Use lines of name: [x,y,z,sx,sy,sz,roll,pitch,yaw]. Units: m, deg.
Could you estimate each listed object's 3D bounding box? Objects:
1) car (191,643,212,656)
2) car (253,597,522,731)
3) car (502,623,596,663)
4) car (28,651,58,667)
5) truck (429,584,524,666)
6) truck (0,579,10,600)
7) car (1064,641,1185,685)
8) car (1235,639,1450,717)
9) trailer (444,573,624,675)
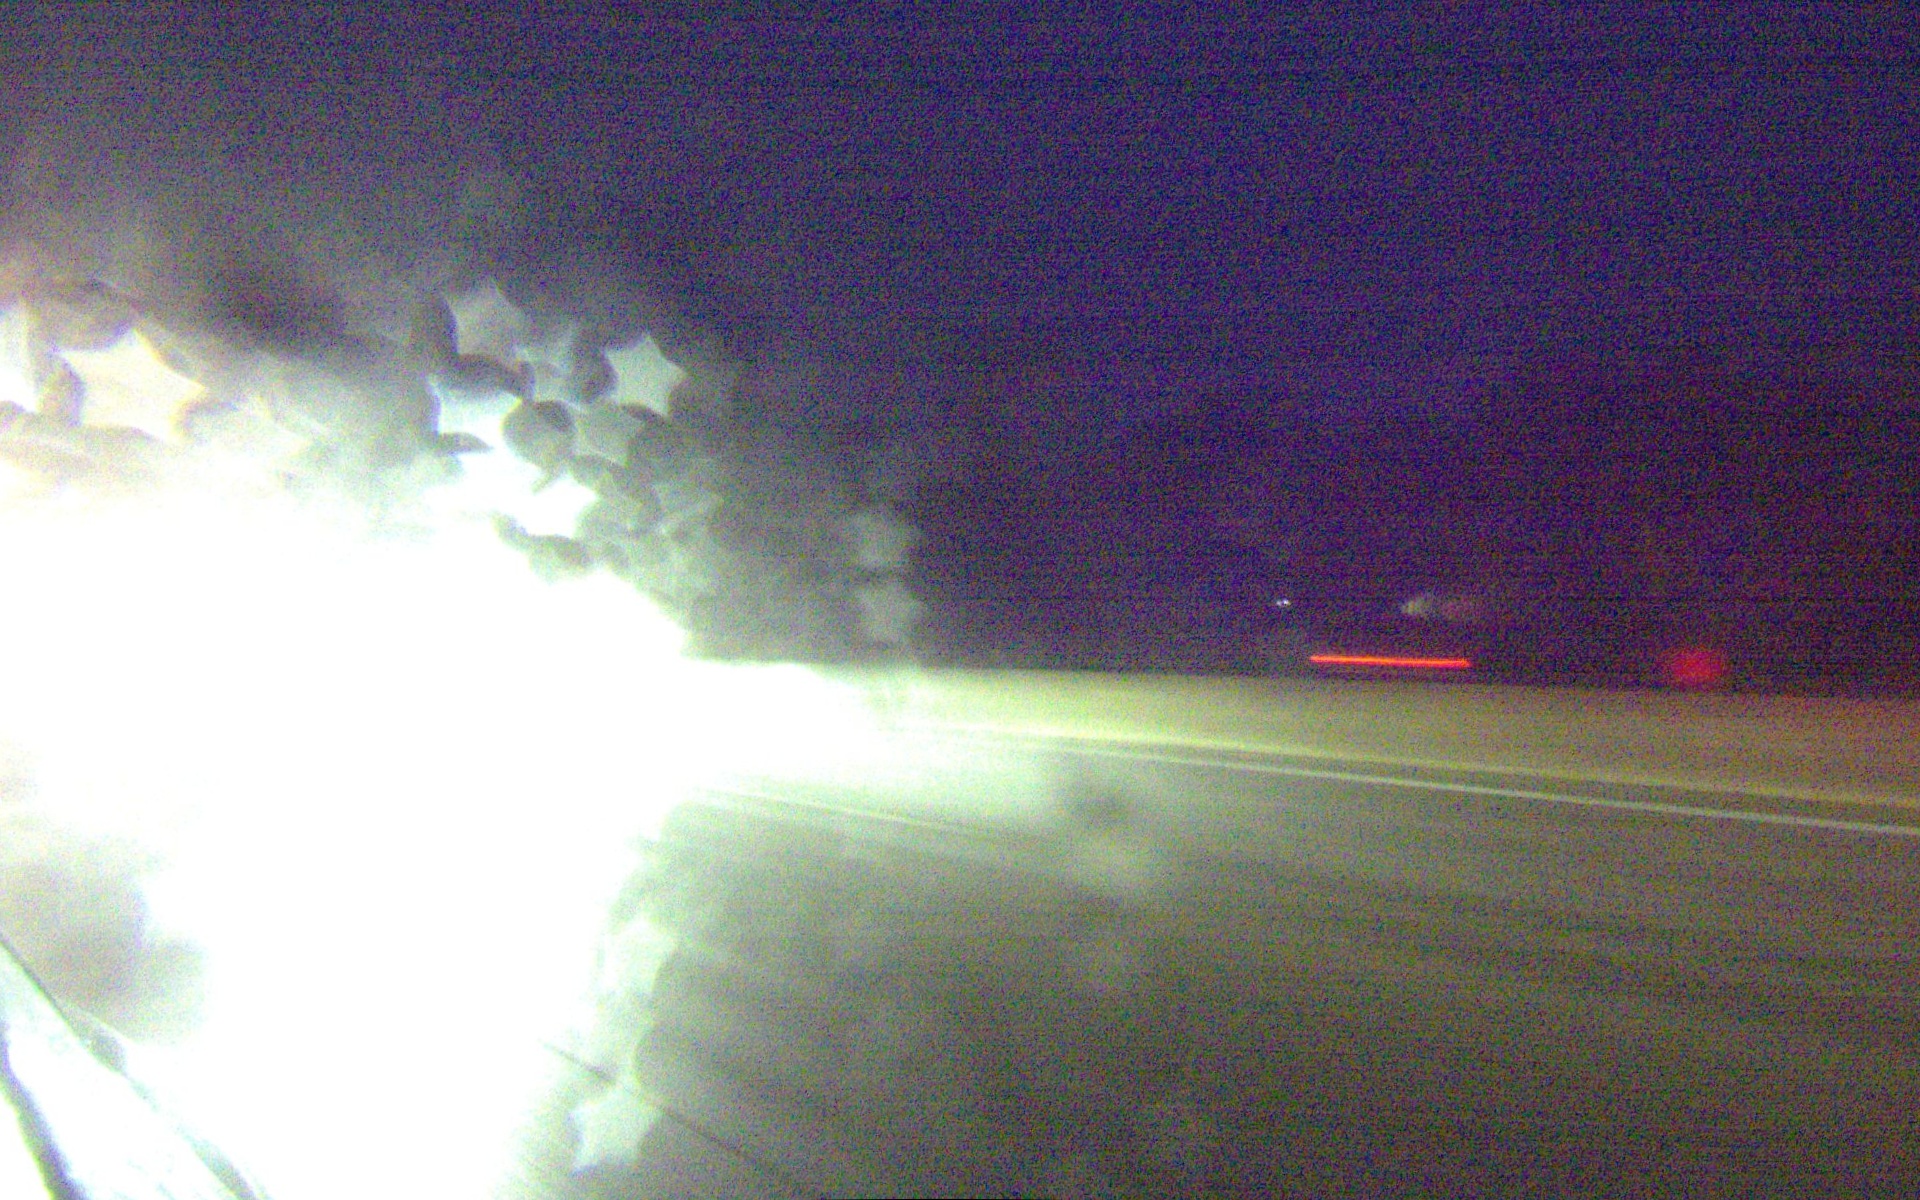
car: [-101.294,6.659,135.116,1.750,1.644,4.004,5,-5,-42]
car: [-9.741,0.968,16.988,5.552,1.899,2.114,0,-4,41]
car: [-15.516,1.610,38.162,3.999,1.309,1.649,0,-4,42]
car: [-77.883,5.011,85.936,1.687,1.304,3.994,4,-6,-43]
truck: [-26.596,1.353,55.599,5.640,4.187,2.510,0,-4,42]
truck: [-182.785,-2.079,189.922,11.168,3.808,2.397,1,-3,25]
car: [5.494,2.105,34.040,3.701,1.309,1.597,0,-4,42]
car: [7.592,1.527,20.263,3.701,1.309,1.597,0,-4,42]
trailer: [-21.988,1.139,51.456,13.914,4.578,2.521,0,-4,42]
